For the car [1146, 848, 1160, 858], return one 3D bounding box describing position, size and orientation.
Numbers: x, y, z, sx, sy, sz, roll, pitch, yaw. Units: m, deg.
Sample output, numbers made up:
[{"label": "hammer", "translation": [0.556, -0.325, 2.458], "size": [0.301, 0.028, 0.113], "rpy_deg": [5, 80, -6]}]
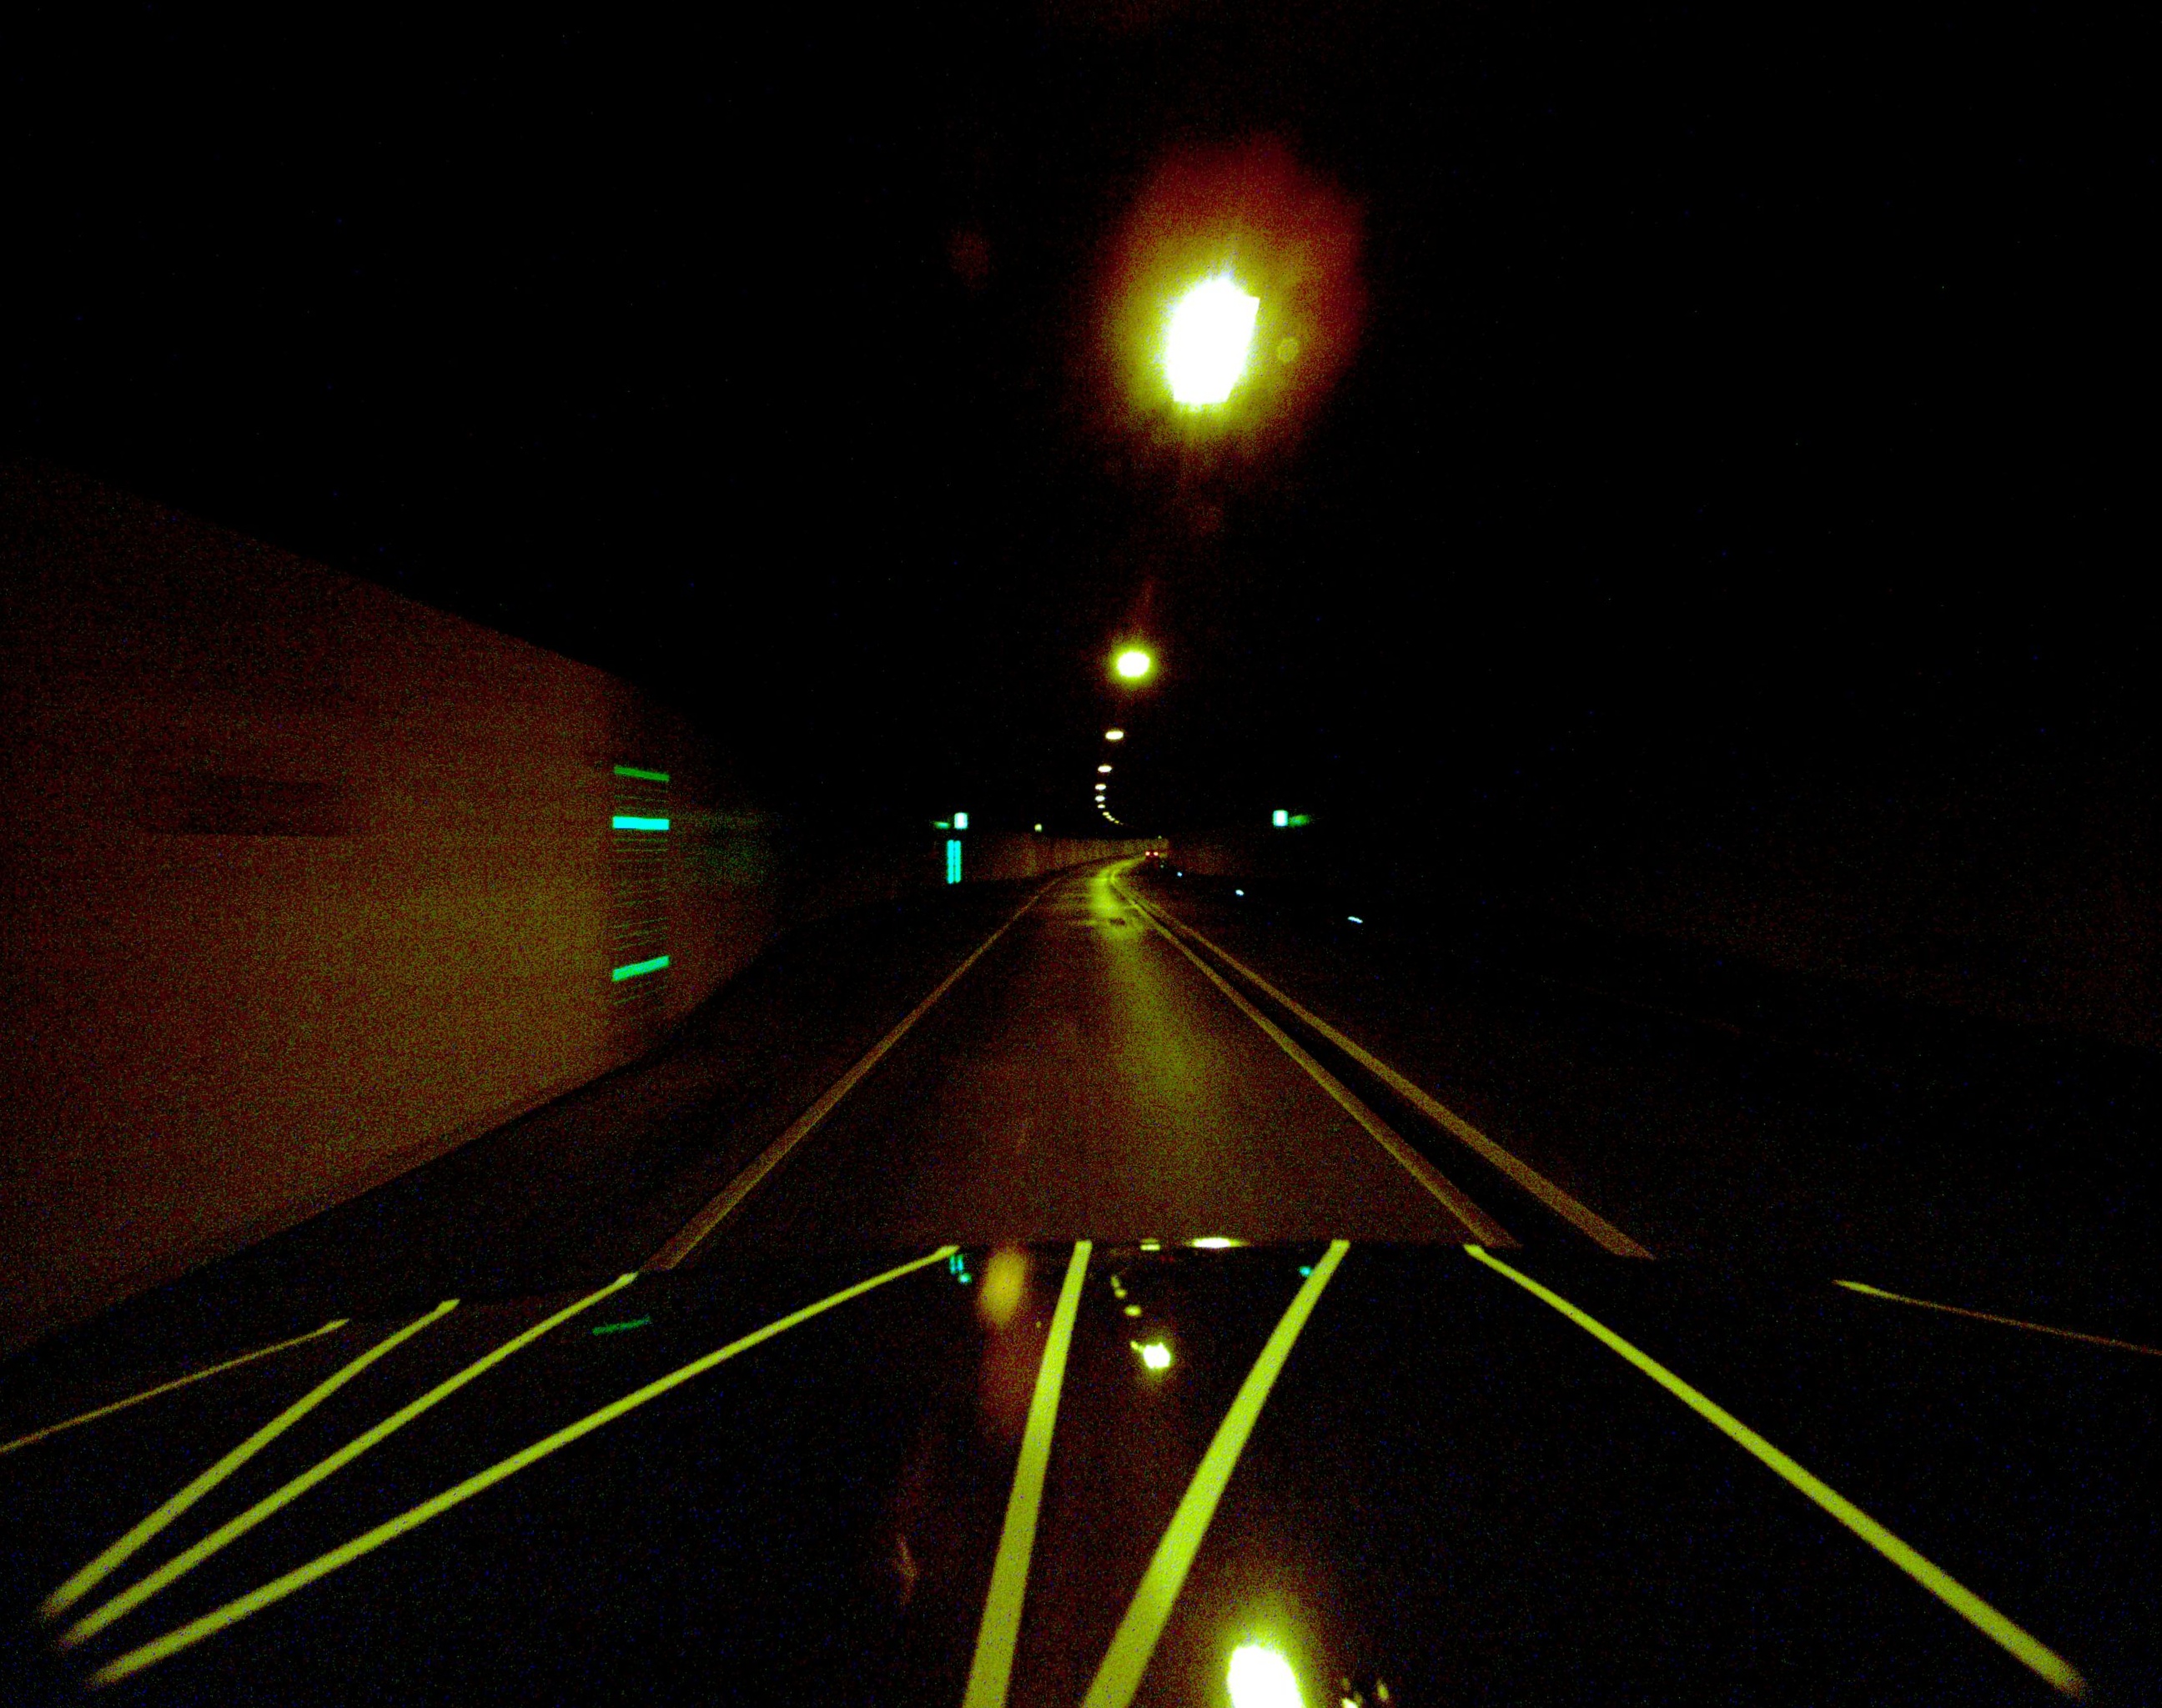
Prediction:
[{"label": "car", "translation": [10.551, -0.148, 111.330], "size": [1.710, 1.408, 4.120], "rpy_deg": [1, 0, 9]}]
